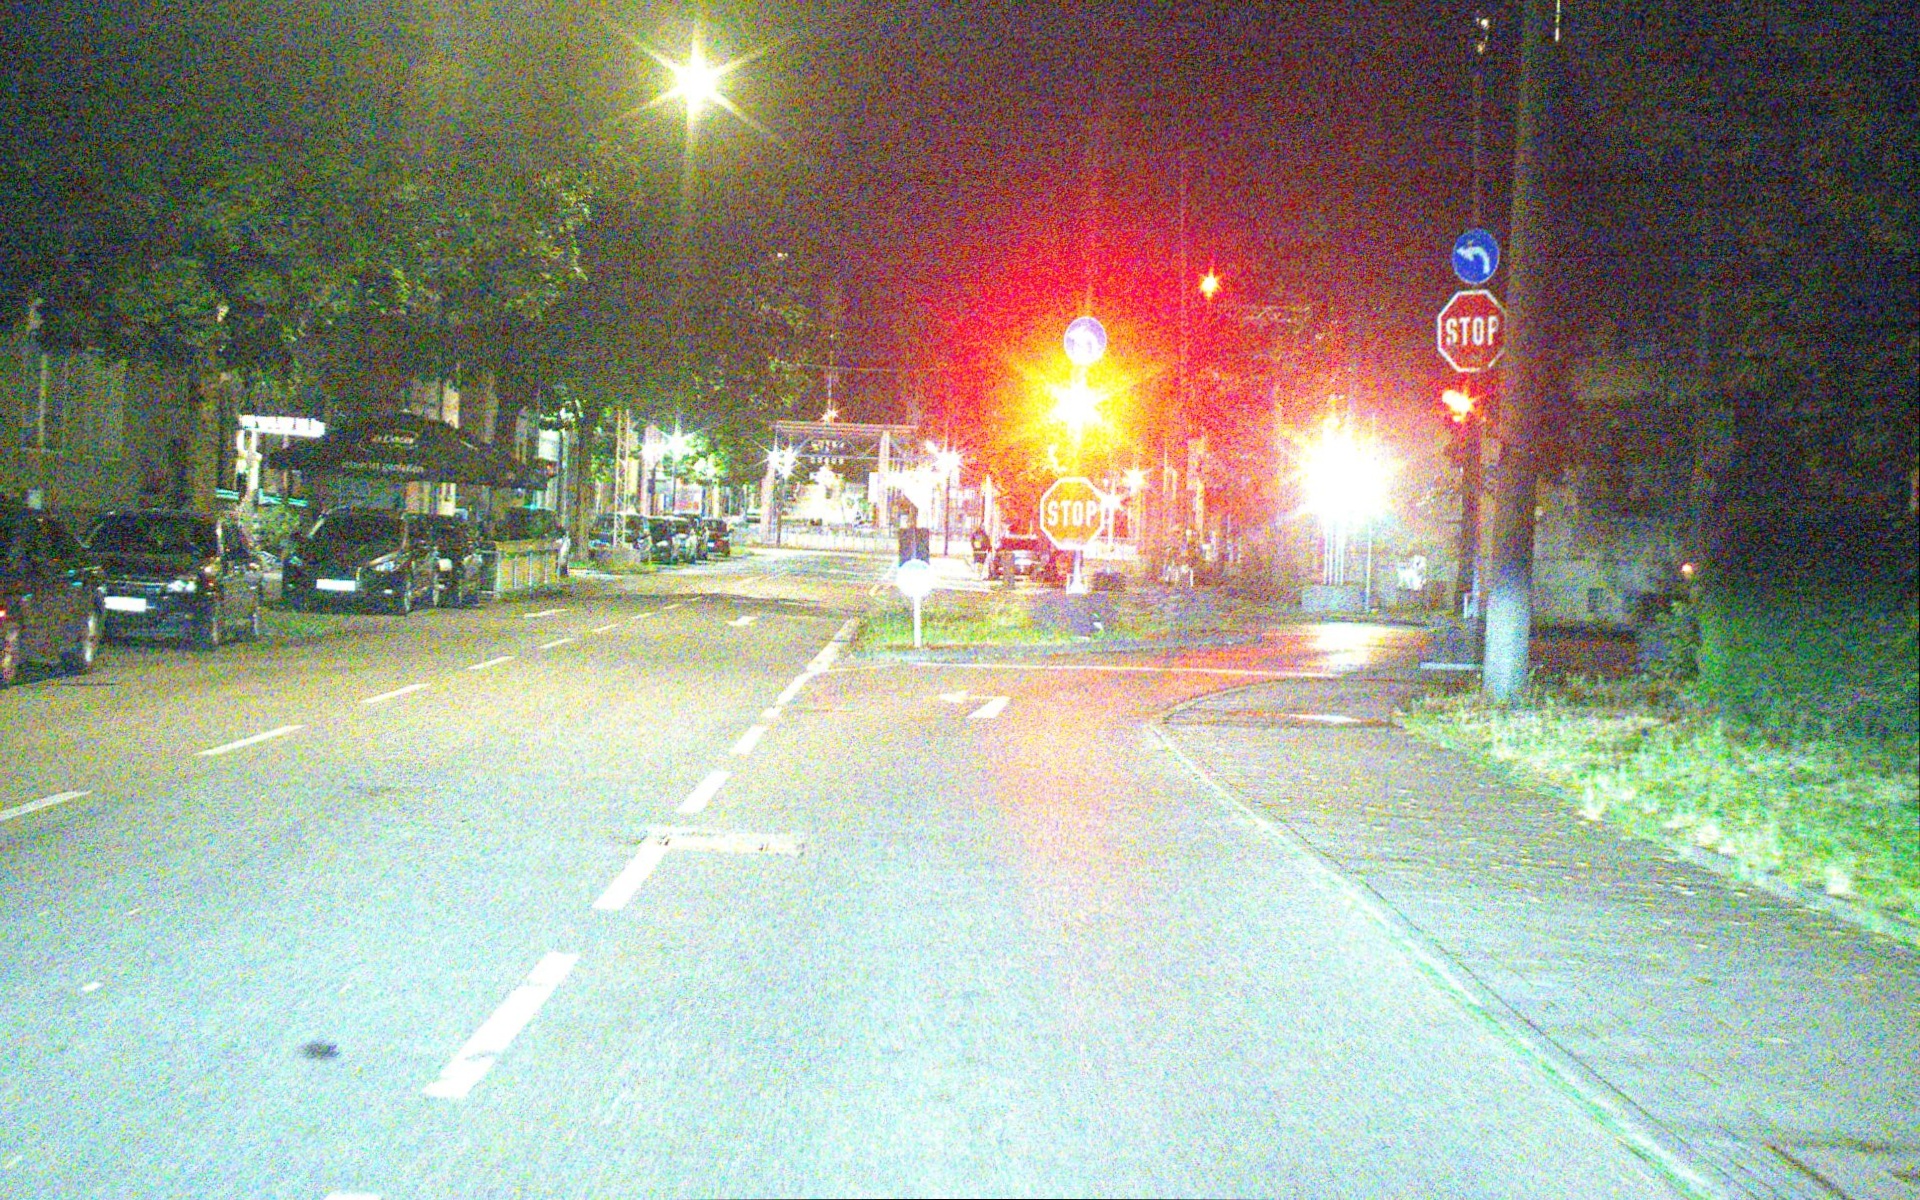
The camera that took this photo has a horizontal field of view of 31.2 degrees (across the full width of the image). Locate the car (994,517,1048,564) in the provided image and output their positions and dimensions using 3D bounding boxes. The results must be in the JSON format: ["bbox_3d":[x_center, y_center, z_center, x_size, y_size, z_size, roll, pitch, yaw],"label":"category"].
[{"bbox_3d":[1.924,-1.901,108.623,1.651,1.426,4.000,1,1,1],"label":"car"}]

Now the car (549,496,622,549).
[{"bbox_3d":[-10.671,-2.219,98.205,1.651,1.426,4.000,1,1,-1],"label":"car"}]

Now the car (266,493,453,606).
[{"bbox_3d":[-8.741,-0.775,50.367,1.899,1.466,4.452,3,2,0],"label":"car"}]

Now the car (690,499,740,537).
[{"bbox_3d":[-9.428,-3.175,132.731,1.651,1.426,4.000,1,1,-1],"label":"car"}]

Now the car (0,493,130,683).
[{"bbox_3d":[-8.418,-0.161,28.941,1.768,1.480,4.864,1,1,-1],"label":"car"}]

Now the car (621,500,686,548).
[{"bbox_3d":[-9.430,-2.353,106.105,1.651,1.426,4.000,1,1,-1],"label":"car"}]

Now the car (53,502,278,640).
[{"bbox_3d":[-8.543,-0.350,37.280,1.622,1.378,4.453,1,1,-3],"label":"car"}]

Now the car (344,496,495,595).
[{"bbox_3d":[-8.666,-0.898,55.430,1.803,1.476,4.323,2,1,-1],"label":"car"}]

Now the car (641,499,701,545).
[{"bbox_3d":[-9.405,-2.554,112.114,1.651,1.426,4.000,1,1,-1],"label":"car"}]

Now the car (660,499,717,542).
[{"bbox_3d":[-9.390,-2.760,118.999,1.651,1.426,4.000,1,1,-1],"label":"car"}]
